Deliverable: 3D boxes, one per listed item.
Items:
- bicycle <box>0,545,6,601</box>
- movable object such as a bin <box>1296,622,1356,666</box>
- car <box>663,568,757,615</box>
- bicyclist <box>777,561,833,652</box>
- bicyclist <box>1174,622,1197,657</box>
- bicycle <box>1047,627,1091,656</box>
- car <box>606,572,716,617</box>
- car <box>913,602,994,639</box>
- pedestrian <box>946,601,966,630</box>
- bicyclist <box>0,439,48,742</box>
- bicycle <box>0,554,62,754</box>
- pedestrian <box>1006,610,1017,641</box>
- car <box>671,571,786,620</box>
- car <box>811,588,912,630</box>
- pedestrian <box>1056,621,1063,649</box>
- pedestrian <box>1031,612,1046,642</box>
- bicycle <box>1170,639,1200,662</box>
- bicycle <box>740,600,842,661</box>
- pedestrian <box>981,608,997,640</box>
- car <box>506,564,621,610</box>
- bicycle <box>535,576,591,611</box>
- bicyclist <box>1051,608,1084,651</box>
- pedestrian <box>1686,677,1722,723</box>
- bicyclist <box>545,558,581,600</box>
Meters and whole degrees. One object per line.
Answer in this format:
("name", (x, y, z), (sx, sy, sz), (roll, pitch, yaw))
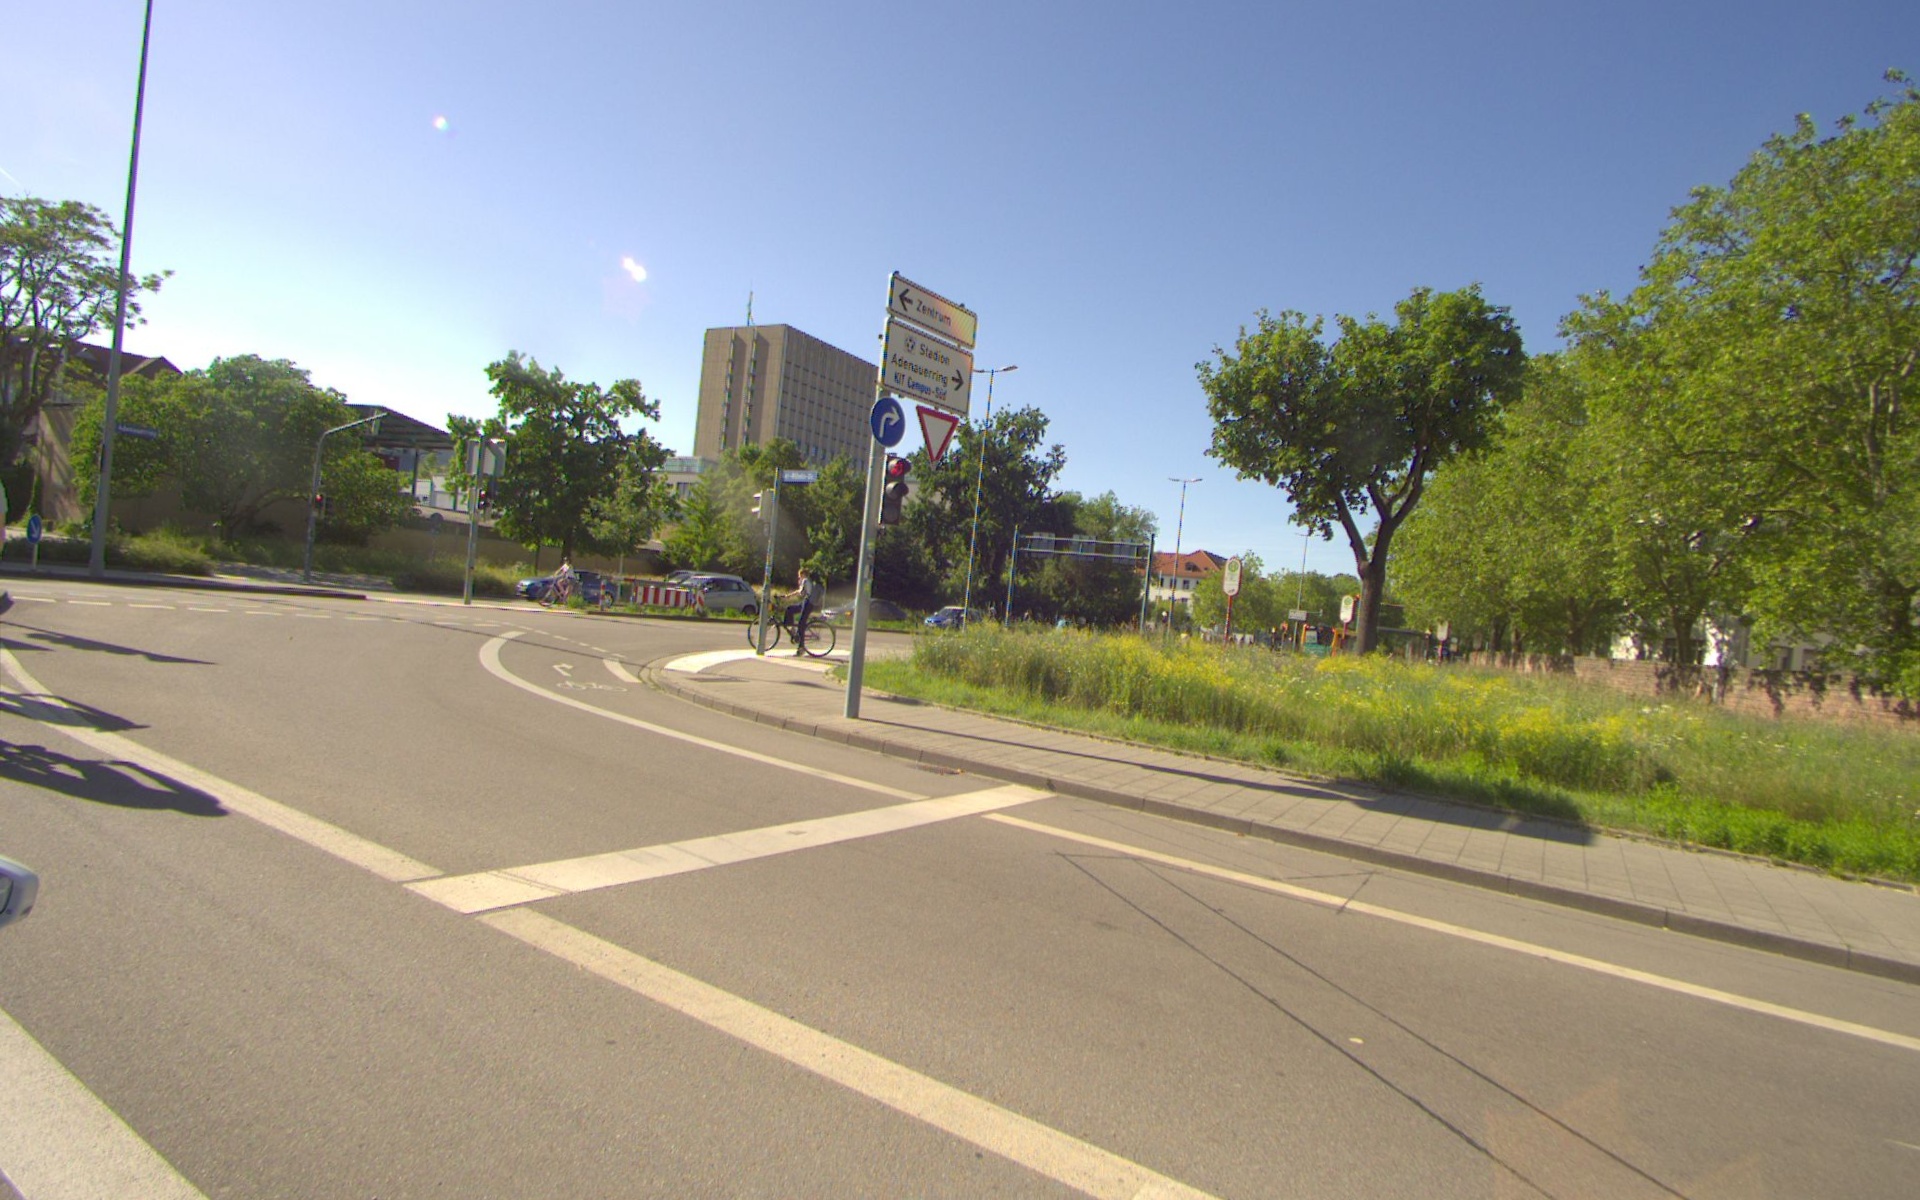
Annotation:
("bicycle", (-8.195, 0.024, 7.753), (1.890, 1.102, 0.690), (6, -1, 32))
("movable object such as a bin", (28.059, 3.429, 76.862), (2.954, 2.898, 9.178), (6, 0, 27))
("car", (-11.843, -0.369, 47.797), (1.767, 1.771, 3.986), (7, 0, 37))
("bicyclist", (-3.038, 0.124, 19.706), (0.898, 1.667, 0.630), (6, 1, -9))
("bicyclist", (10.583, 1.843, 47.159), (0.509, 1.548, 1.067), (7, 2, 39))
("bicycle", (4.090, 1.555, 37.549), (0.640, 0.986, 1.895), (7, 1, 39))
("car", (-12.300, -0.201, 41.572), (1.767, 1.415, 3.986), (7, 0, 37))
("car", (-0.295, 1.048, 50.458), (1.916, 1.415, 3.986), (6, 0, 37))
("pedestrian", (-0.320, 1.205, 76.880), (0.752, 2.039, 1.267), (7, 1, 36))
("bicyclist", (-6.320, -0.118, 6.146), (1.123, 1.813, 0.684), (7, 0, 32))
("bicycle", (-6.333, 0.233, 6.135), (1.890, 1.102, 0.690), (6, -1, 32))
("pedestrian", (4.283, 2.105, 83.461), (0.401, 2.451, 0.467), (6, -1, 34))
("car", (-8.741, -0.131, 38.290), (1.767, 1.415, 3.986), (7, 0, 37))
("car", (-4.310, 0.434, 44.631), (1.767, 1.415, 4.557), (7, 0, 37))
("pedestrian", (8.694, 3.057, 88.000), (0.267, 2.451, 0.300), (6, -1, 34))
("pedestrian", (6.673, 2.318, 85.507), (0.710, 2.451, 0.585), (6, -1, 34))
("bicycle", (10.569, 2.360, 47.223), (0.514, 1.000, 1.965), (7, 1, 39))
("bicycle", (-3.292, 0.591, 19.678), (1.856, 0.970, 0.635), (7, 1, -10))
("pedestrian", (2.347, 1.919, 81.003), (0.660, 2.451, 0.770), (6, -1, 34))
("car", (-16.211, -0.527, 41.319), (1.767, 1.415, 3.986), (7, 0, 37))
("bicycle", (-13.938, -0.228, 35.360), (0.602, 1.046, 1.681), (7, 0, 37))
("bicyclist", (3.987, 1.104, 37.355), (0.632, 1.533, 1.049), (7, 2, 39))
("pedestrian", (25.828, 3.470, 34.941), (0.712, 1.460, 0.523), (7, -1, 2))
("bicyclist", (-13.936, -0.723, 35.283), (0.602, 1.360, 0.874), (7, 1, 37))
